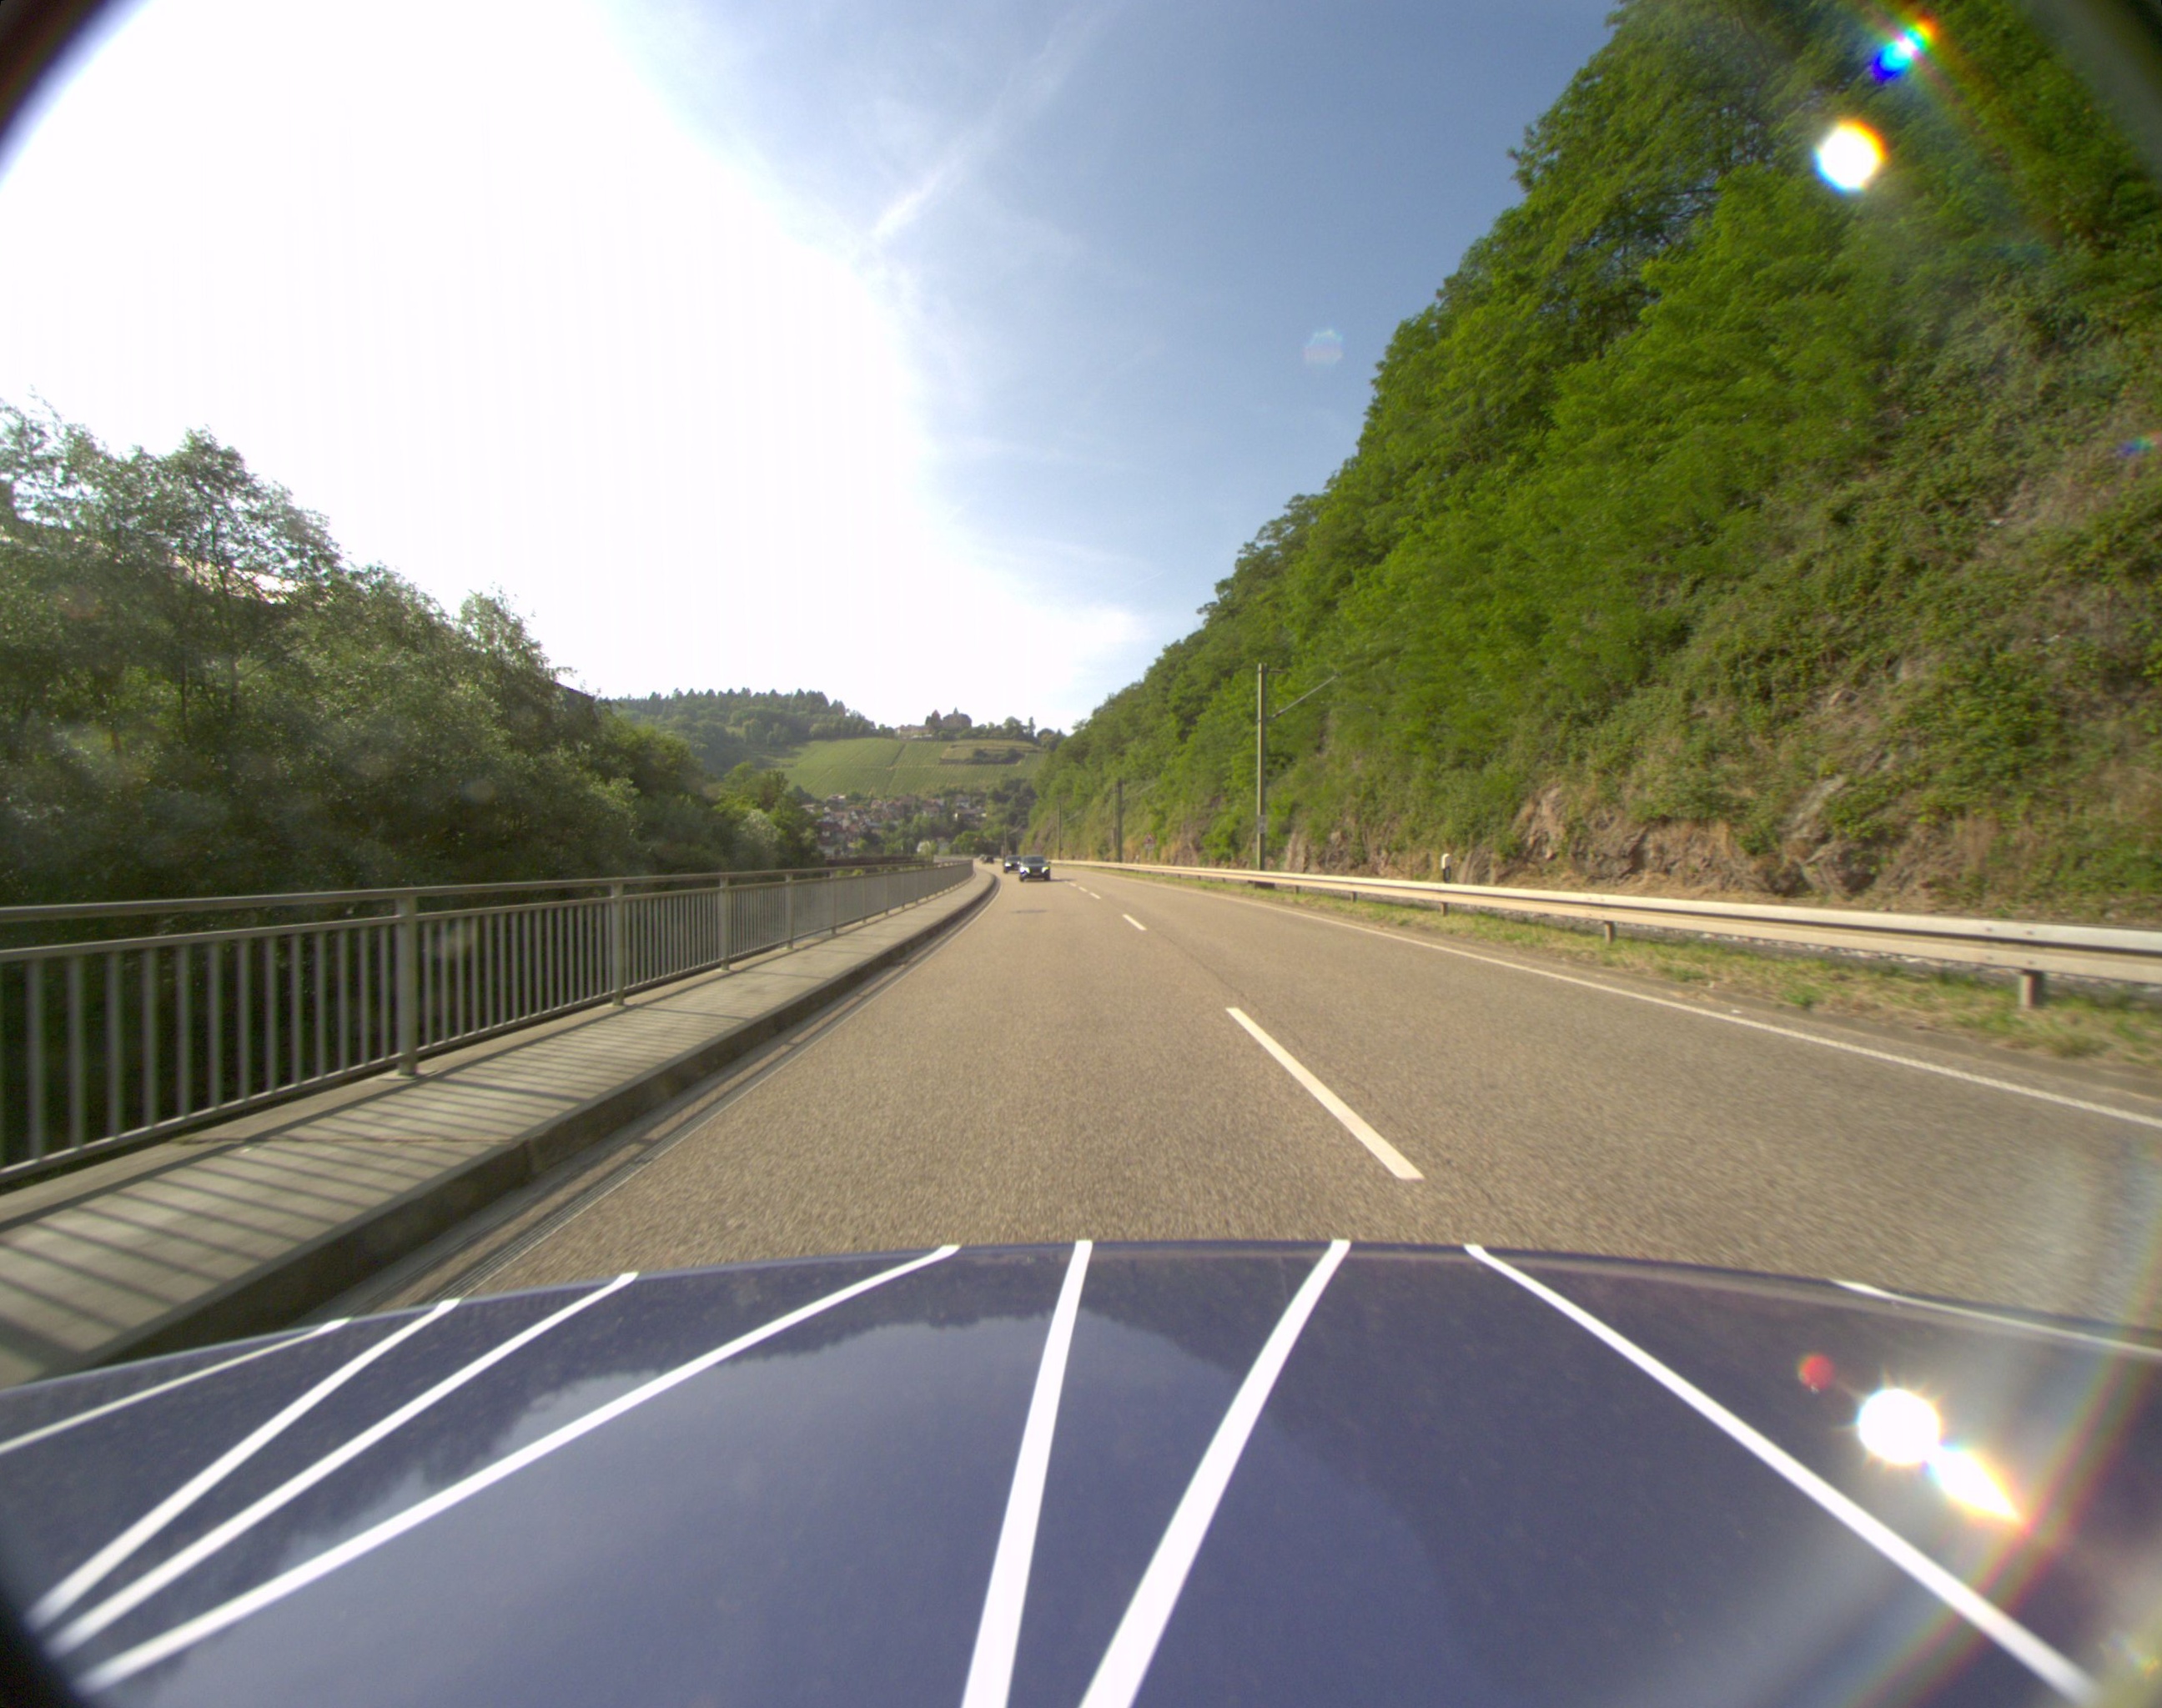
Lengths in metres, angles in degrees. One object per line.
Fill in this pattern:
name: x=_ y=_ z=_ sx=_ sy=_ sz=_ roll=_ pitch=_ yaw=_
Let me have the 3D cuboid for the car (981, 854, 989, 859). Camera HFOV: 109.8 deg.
car: x=-28.519 y=0.832 z=225.664 sx=1.854 sy=1.535 sz=4.599 roll=0 pitch=-1 yaw=-13

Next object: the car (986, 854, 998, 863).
car: x=-16.131 y=0.809 z=137.138 sx=1.854 sy=1.431 sz=3.894 roll=0 pitch=-2 yaw=-11

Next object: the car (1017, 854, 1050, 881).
car: x=-3.074 y=0.800 z=48.393 sx=1.864 sy=1.576 sz=3.997 roll=-1 pitch=0 yaw=-6

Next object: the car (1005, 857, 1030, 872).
car: x=-5.903 y=1.001 z=70.629 sx=2.000 sy=1.383 sz=3.998 roll=0 pitch=-2 yaw=-9
